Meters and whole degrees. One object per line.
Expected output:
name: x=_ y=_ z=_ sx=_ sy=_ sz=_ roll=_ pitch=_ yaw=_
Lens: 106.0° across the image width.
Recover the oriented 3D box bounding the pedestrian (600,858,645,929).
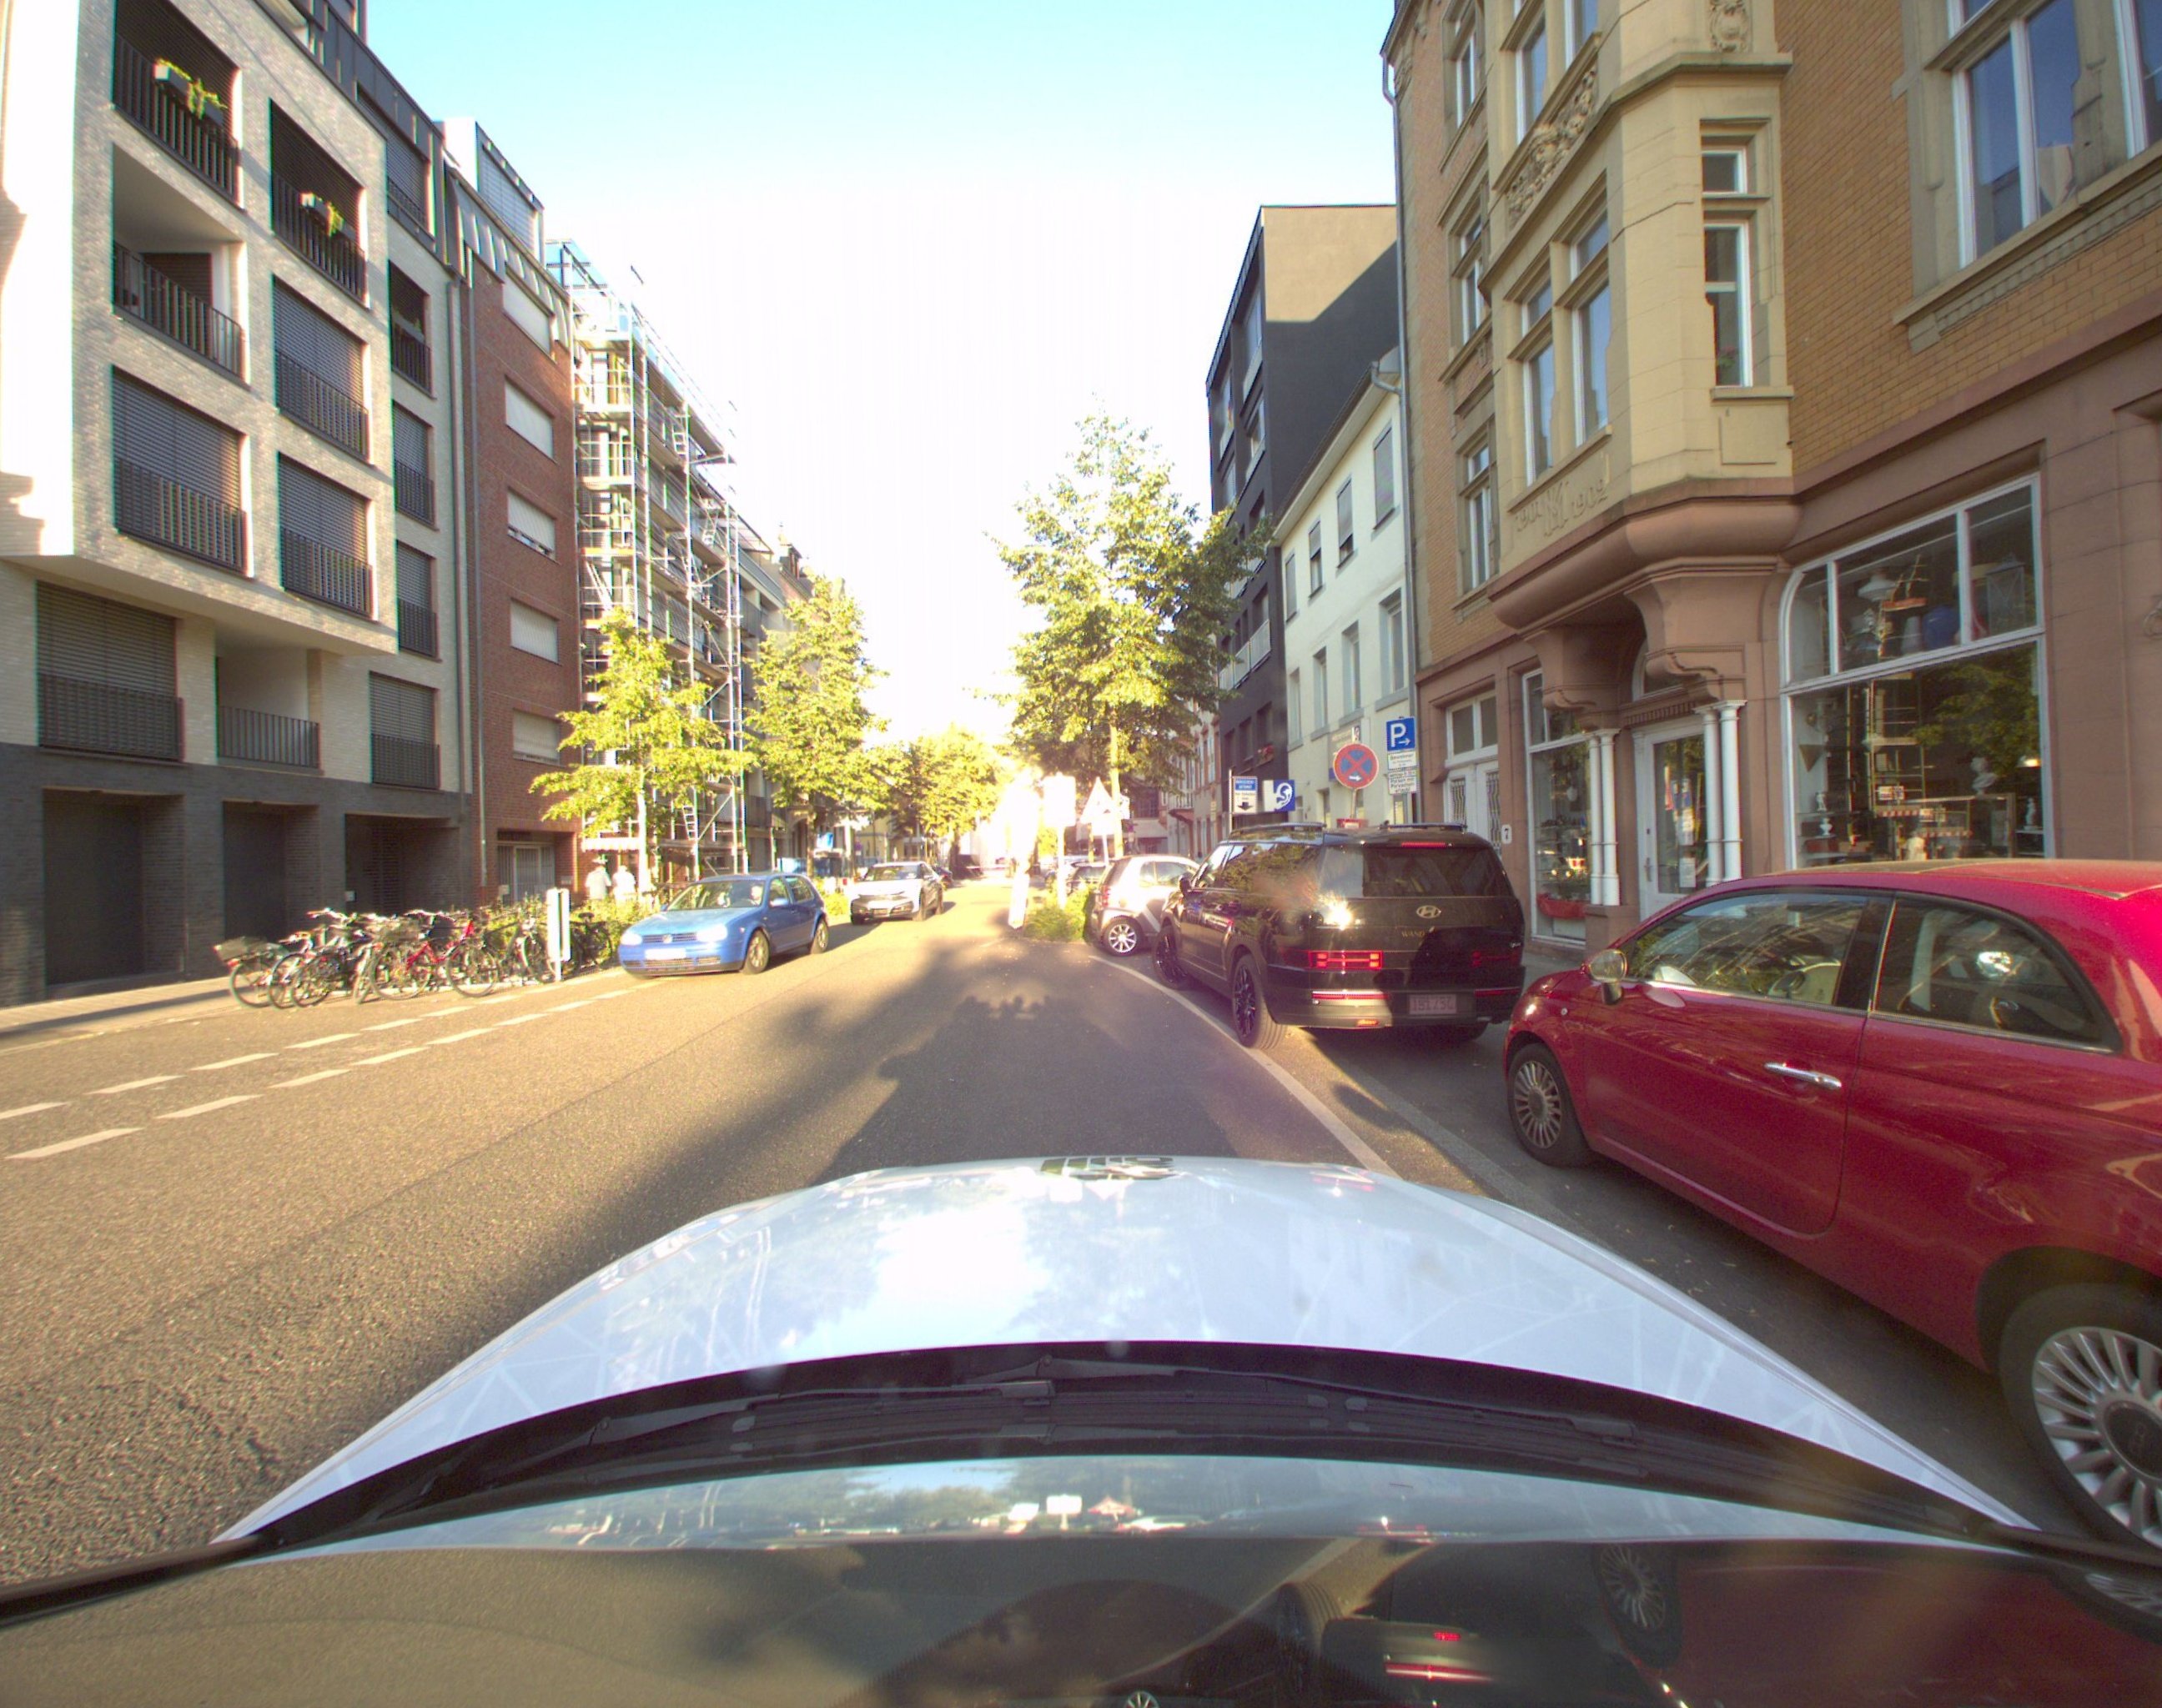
pedestrian: x=-11.881 y=1.008 z=21.123 sx=0.739 sy=1.783 sz=0.656 roll=-2 pitch=-1 yaw=-3

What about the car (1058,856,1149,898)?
car: x=0.887 y=0.941 z=34.060 sx=3.677 sy=1.670 sz=1.856 roll=0 pitch=-1 yaw=-4

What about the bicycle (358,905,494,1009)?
bicycle: x=-8.503 y=1.299 z=10.654 sx=0.415 sy=1.157 sz=1.554 roll=-2 pitch=0 yaw=4

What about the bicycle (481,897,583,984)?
bicycle: x=-8.335 y=1.275 z=12.438 sx=0.486 sy=1.163 sz=1.551 roll=-2 pitch=0 yaw=-1

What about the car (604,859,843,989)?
car: x=-5.160 y=0.906 z=12.440 sx=1.682 sy=1.563 sz=4.119 roll=-3 pitch=0 yaw=1

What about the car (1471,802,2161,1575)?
car: x=2.962 y=0.674 z=2.908 sx=1.520 sy=1.570 sz=3.422 roll=-1 pitch=0 yaw=0

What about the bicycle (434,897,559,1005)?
bicycle: x=-7.618 y=1.221 z=10.696 sx=0.496 sy=1.220 sz=1.551 roll=-2 pitch=0 yaw=-1

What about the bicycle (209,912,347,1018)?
bicycle: x=-10.366 y=1.390 z=10.572 sx=0.386 sy=1.183 sz=1.405 roll=-2 pitch=0 yaw=0

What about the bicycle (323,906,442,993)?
bicycle: x=-10.491 y=1.402 z=12.298 sx=0.456 sy=1.132 sz=1.551 roll=-2 pitch=0 yaw=0

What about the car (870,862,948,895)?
car: x=-9.713 y=1.379 z=46.239 sx=3.973 sy=1.684 sz=1.891 roll=-1 pitch=0 yaw=1

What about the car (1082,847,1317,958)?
car: x=1.866 y=0.729 z=13.257 sx=3.470 sy=1.575 sz=1.502 roll=-2 pitch=0 yaw=-10

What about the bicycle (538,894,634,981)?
bicycle: x=-7.531 y=1.237 z=12.472 sx=0.506 sy=1.179 sz=1.551 roll=-2 pitch=0 yaw=-1

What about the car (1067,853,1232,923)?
car: x=1.668 y=0.834 z=20.841 sx=3.987 sy=1.670 sz=1.856 roll=0 pitch=-1 yaw=-4

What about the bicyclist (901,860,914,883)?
bicyclist: x=-12.469 y=1.269 z=58.620 sx=0.767 sy=1.606 sz=0.493 roll=-1 pitch=-1 yaw=-38

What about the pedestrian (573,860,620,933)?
pedestrian: x=-12.153 y=1.056 z=20.433 sx=0.739 sy=1.783 sz=0.656 roll=-2 pitch=-1 yaw=-1

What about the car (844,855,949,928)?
car: x=-4.916 y=0.942 z=22.286 sx=1.868 sy=1.697 sz=4.319 roll=-4 pitch=0 yaw=-1

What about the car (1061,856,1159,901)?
car: x=1.092 y=0.915 z=31.748 sx=3.677 sy=1.670 sz=1.856 roll=0 pitch=-1 yaw=-4

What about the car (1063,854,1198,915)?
car: x=1.352 y=0.841 z=23.413 sx=3.677 sy=1.670 sz=1.856 roll=0 pitch=-1 yaw=-4

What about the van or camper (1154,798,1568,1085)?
van or camper: x=2.058 y=0.565 z=7.529 sx=1.887 sy=1.807 sz=4.451 roll=-1 pitch=0 yaw=-6

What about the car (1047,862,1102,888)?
car: x=-0.372 y=1.334 z=52.088 sx=1.834 sy=1.568 sz=3.720 roll=-1 pitch=-1 yaw=32

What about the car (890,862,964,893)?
car: x=-9.219 y=1.401 z=48.929 sx=3.973 sy=1.684 sz=1.891 roll=-1 pitch=0 yaw=1

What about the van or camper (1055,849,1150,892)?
van or camper: x=1.000 y=0.764 z=39.141 sx=4.430 sy=2.005 sz=1.856 roll=0 pitch=-1 yaw=-4

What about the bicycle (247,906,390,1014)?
bicycle: x=-9.828 y=1.325 z=10.564 sx=0.385 sy=1.189 sz=1.551 roll=-2 pitch=0 yaw=0

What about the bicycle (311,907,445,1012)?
bicycle: x=-9.066 y=1.318 z=10.573 sx=0.379 sy=1.159 sz=1.551 roll=-2 pitch=0 yaw=0

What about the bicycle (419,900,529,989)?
bicycle: x=-9.097 y=1.323 z=12.278 sx=0.486 sy=1.149 sz=1.551 roll=-2 pitch=0 yaw=-1

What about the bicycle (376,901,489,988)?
bicycle: x=-9.794 y=1.339 z=12.371 sx=0.466 sy=1.144 sz=1.551 roll=-2 pitch=0 yaw=0
